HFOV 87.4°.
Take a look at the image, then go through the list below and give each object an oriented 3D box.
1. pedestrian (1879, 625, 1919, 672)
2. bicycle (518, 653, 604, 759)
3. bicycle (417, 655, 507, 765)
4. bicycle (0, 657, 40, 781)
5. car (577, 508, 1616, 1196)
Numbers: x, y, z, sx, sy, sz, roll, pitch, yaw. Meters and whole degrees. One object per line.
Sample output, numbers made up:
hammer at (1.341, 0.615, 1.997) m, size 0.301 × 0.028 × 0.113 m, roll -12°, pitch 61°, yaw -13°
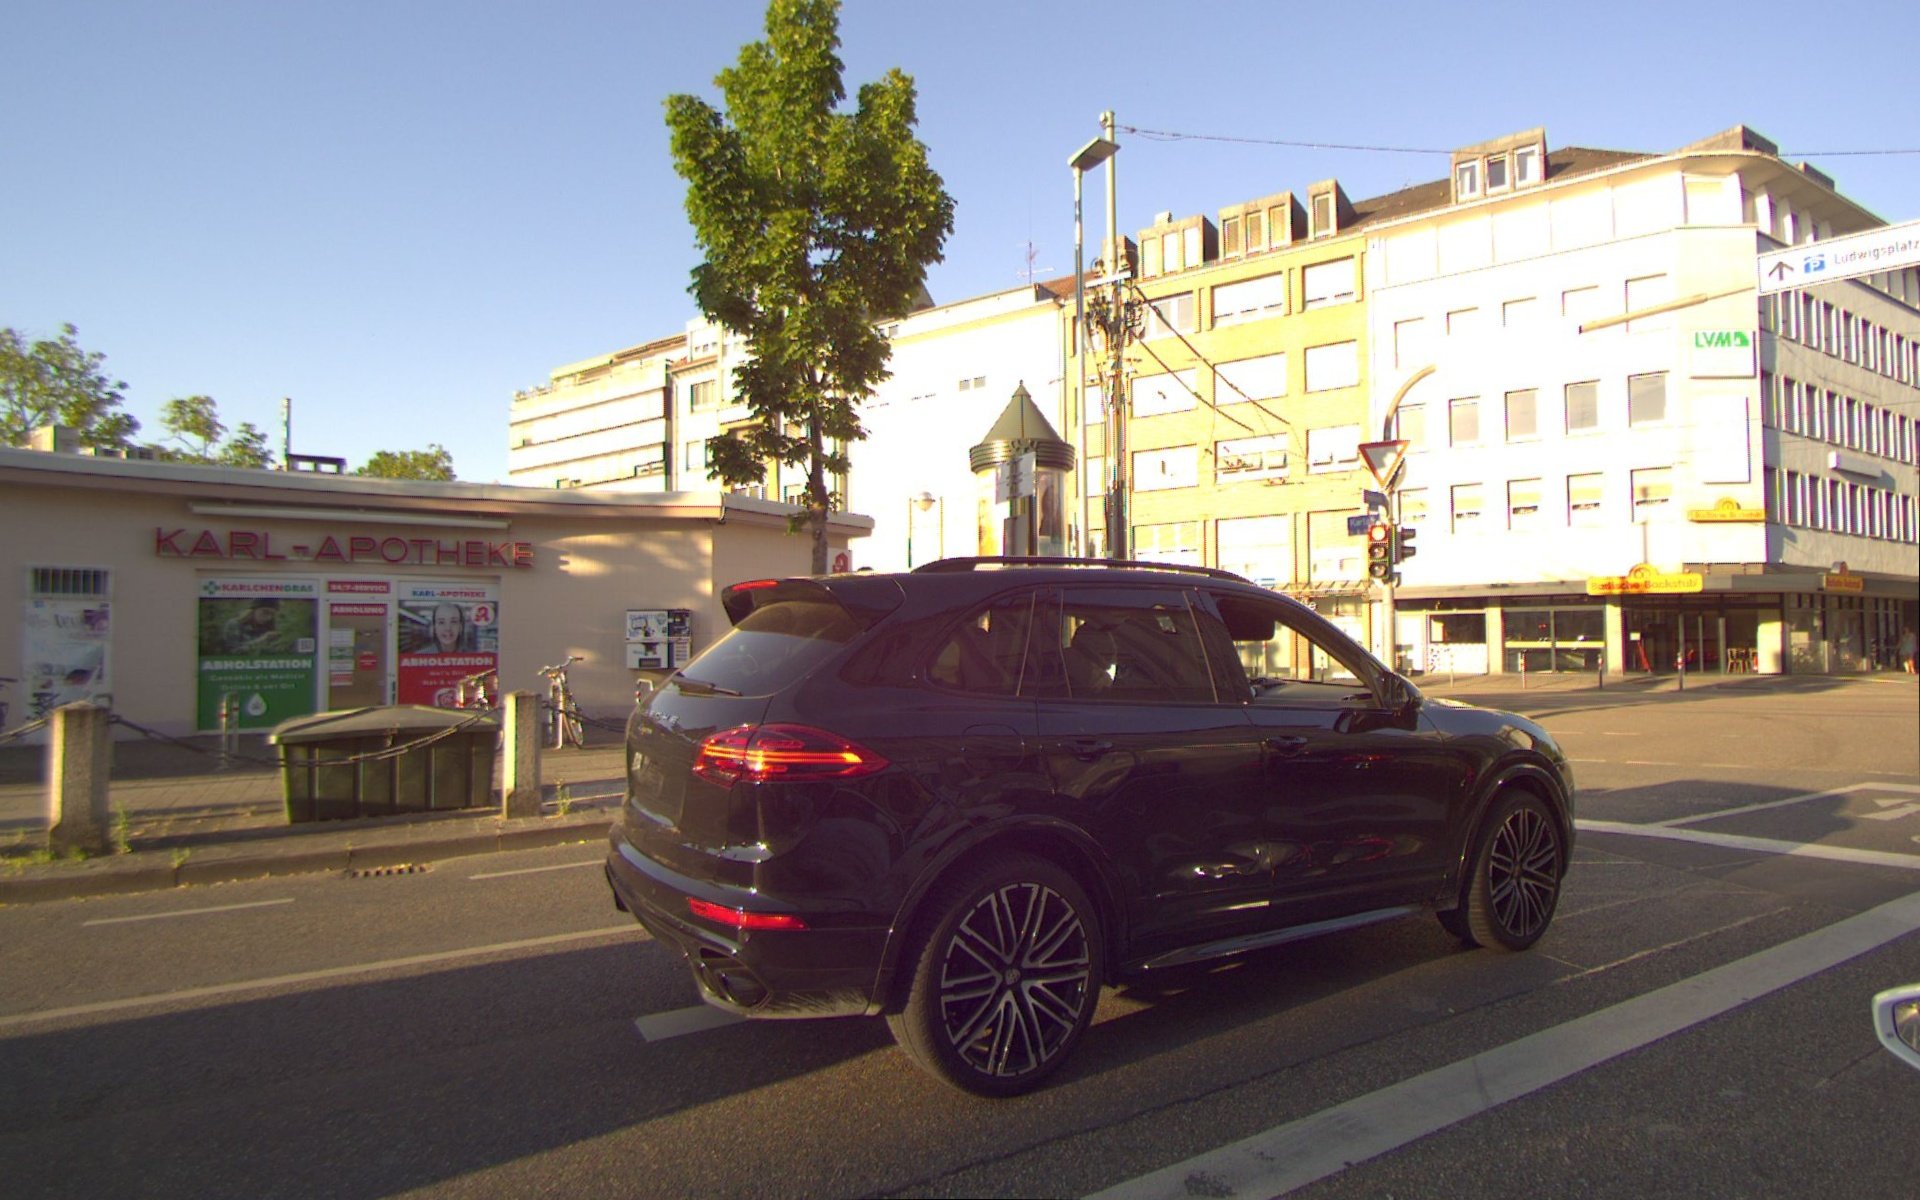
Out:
pedestrian at (34.528, 1.797, 36.937) m, size 0.862 × 1.698 × 0.819 m, roll 1°, pitch -3°, yaw -32°
bicycle at (-5.393, 1.359, 13.484) m, size 0.778 × 1.273 × 2.433 m, roll 1°, pitch -3°, yaw -29°
bicycle at (-6.447, 1.354, 12.944) m, size 0.938 × 1.273 × 1.997 m, roll 1°, pitch -3°, yaw -29°
bicycle at (-10.335, 1.245, 10.493) m, size 0.625 × 1.273 × 1.846 m, roll 1°, pitch -3°, yaw -29°
car at (0.799, 0.704, 4.590) m, size 4.511 × 1.736 × 1.939 m, roll 1°, pitch -3°, yaw -32°
